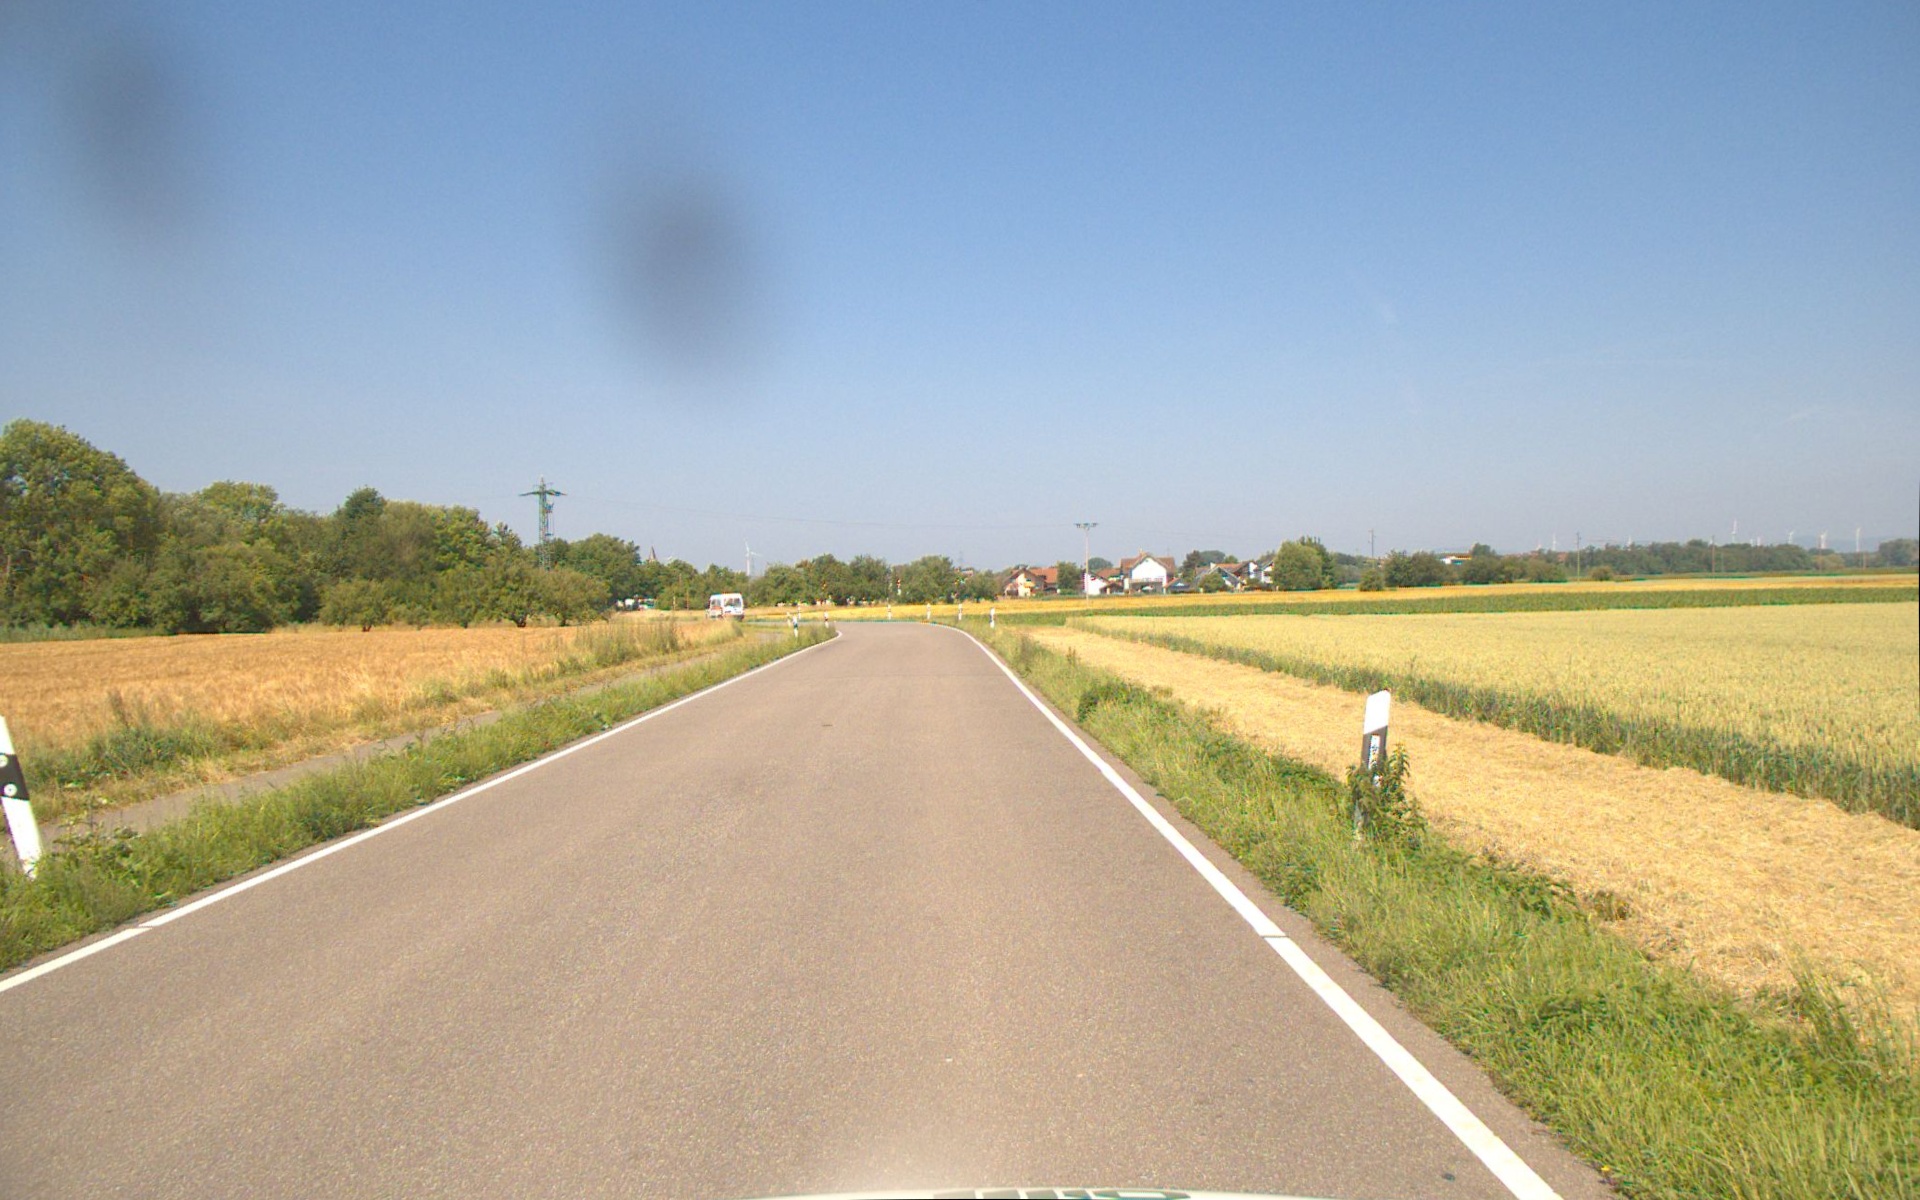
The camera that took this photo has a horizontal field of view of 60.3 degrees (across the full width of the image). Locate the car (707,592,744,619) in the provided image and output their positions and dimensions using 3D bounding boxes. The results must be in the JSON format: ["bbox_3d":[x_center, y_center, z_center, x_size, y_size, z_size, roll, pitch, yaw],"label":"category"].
[{"bbox_3d":[-20.281,0.482,143.004,1.967,2.305,4.692,-2,0,-23],"label":"car"}]
